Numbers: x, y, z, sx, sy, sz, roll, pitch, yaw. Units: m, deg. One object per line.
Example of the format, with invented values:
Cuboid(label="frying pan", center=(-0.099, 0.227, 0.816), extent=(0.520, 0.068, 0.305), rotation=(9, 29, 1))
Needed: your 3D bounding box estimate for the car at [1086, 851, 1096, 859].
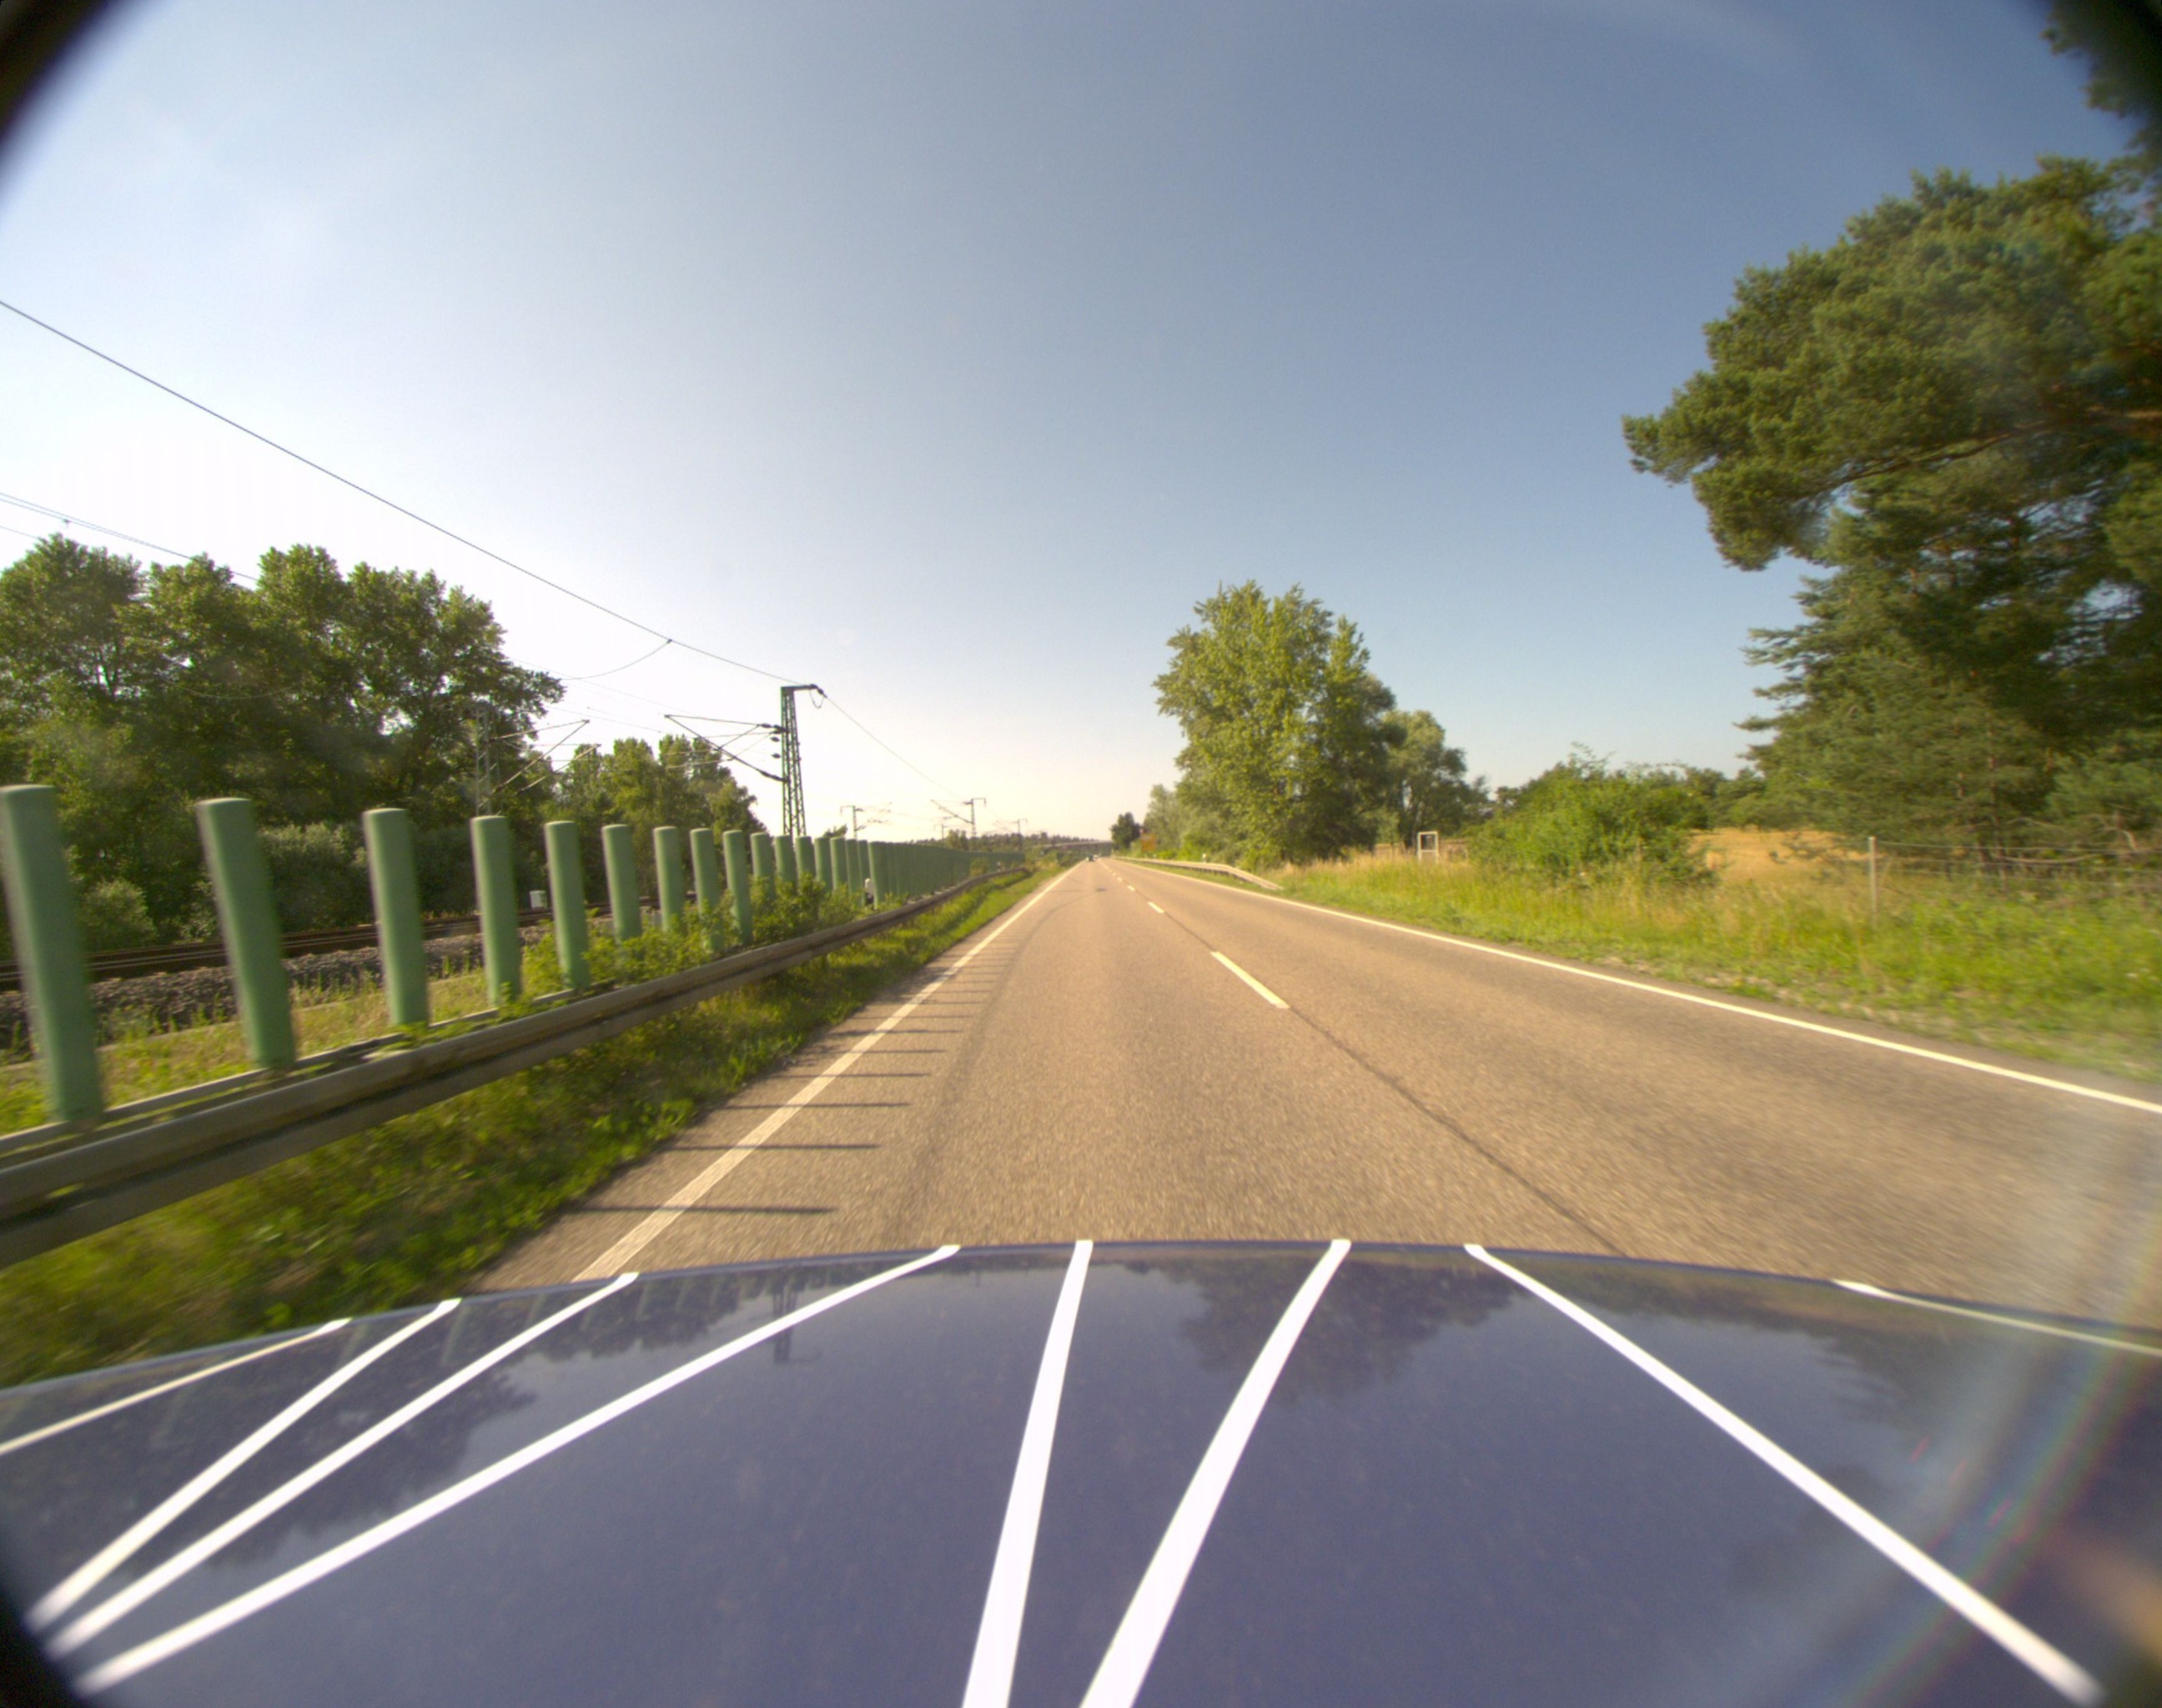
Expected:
Cuboid(label="car", center=(2.175, 0.223, 162.626), extent=(1.868, 1.533, 4.076), rotation=(-1, 0, 2))
